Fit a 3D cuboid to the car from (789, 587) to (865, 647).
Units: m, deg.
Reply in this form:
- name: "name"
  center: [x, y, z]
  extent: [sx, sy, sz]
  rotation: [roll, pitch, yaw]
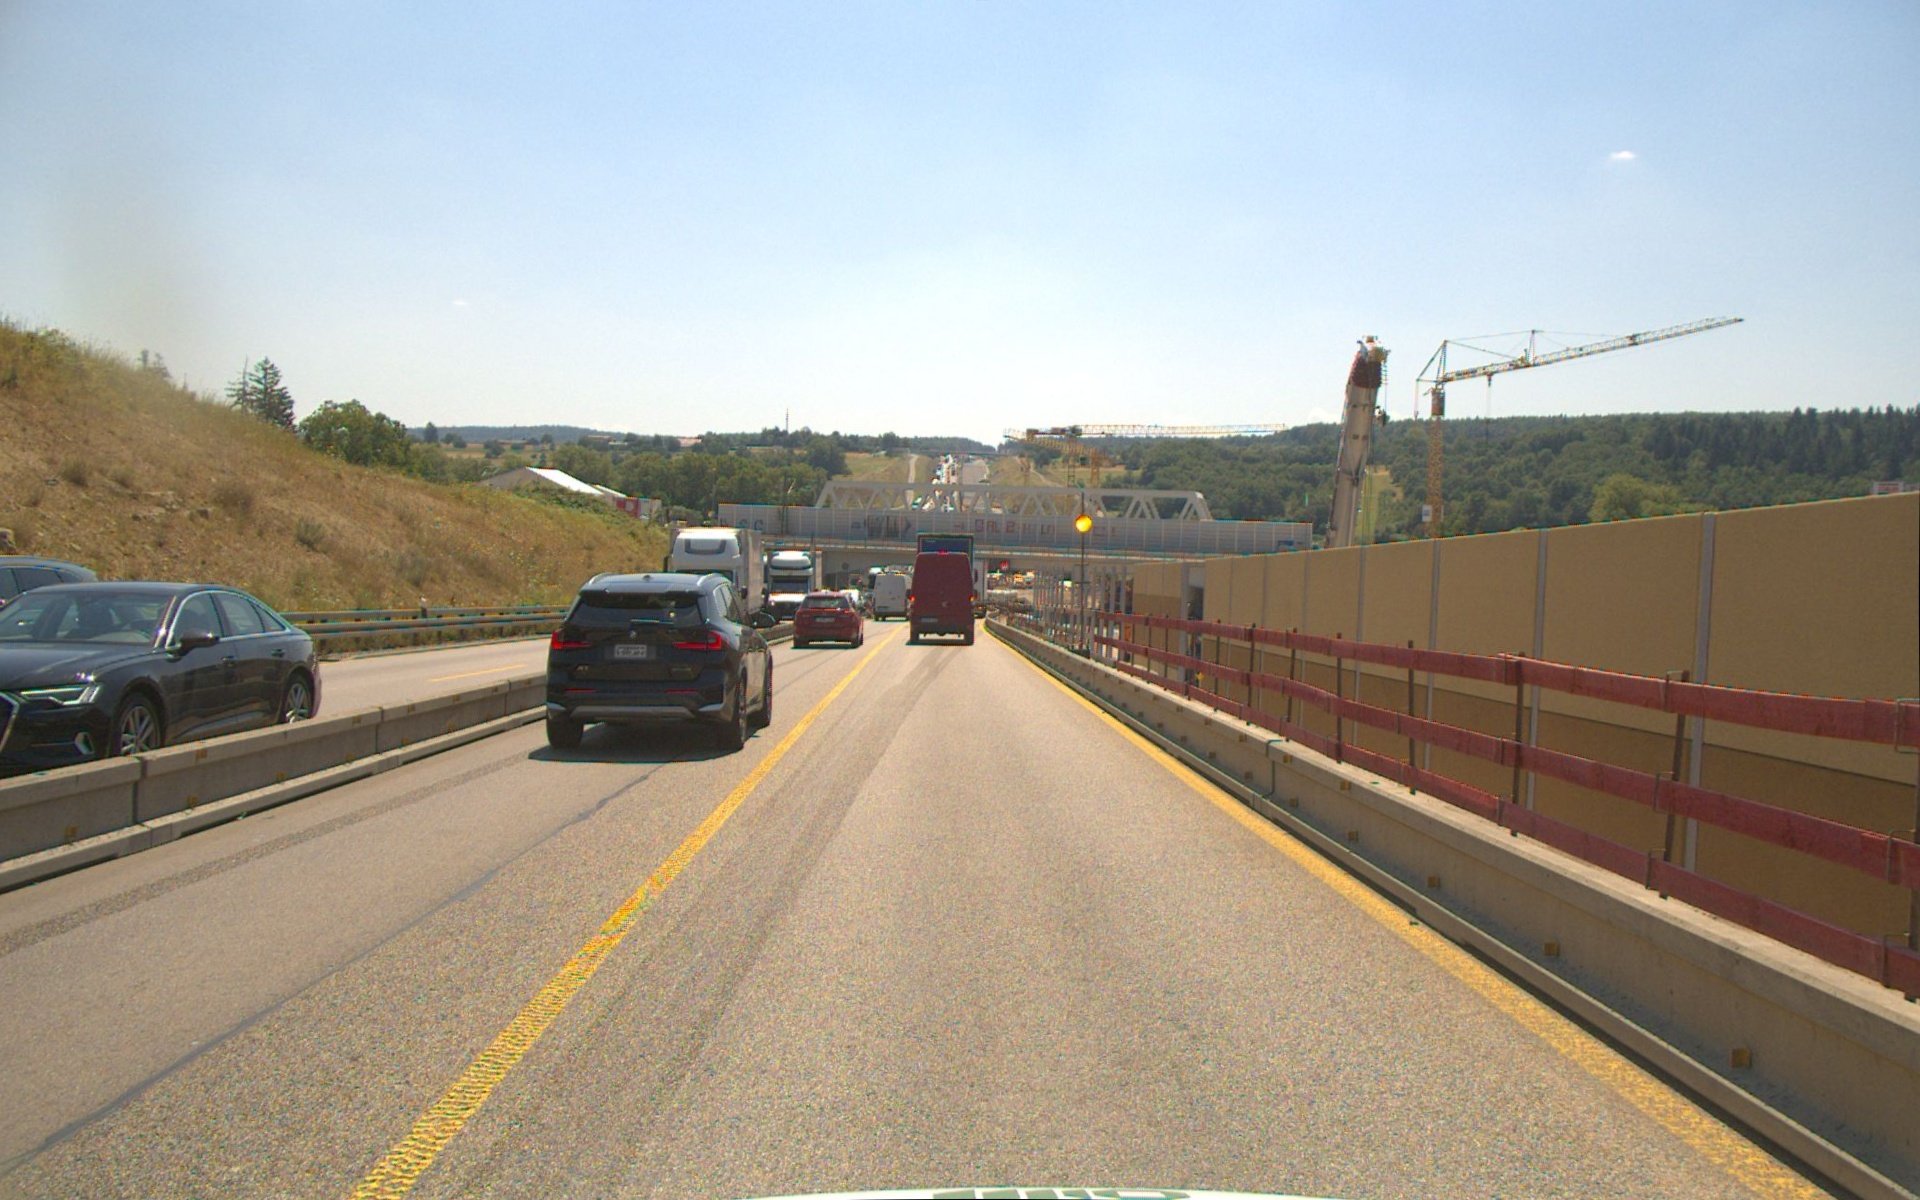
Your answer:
- name: "car"
  center: [-3.569, 0.422, 44.908]
  extent: [1.739, 1.544, 4.205]
  rotation: [0, 0, -1]

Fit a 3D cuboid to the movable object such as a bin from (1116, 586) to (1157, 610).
- name: "movable object such as a bin"
  center: [22.480, -0.265, 211.019]
  extent: [5.038, 2.856, 2.144]
  rotation: [1, 0, 5]

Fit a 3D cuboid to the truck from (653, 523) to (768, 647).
- name: "truck"
  center: [-7.405, -0.446, 49.861]
  extent: [2.487, 3.433, 7.036]
  rotation: [1, 0, -1]

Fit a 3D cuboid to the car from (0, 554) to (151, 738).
- name: "car"
  center: [-9.751, 0.410, 15.799]
  extent: [1.816, 1.701, 4.667]
  rotation: [0, 0, -1]

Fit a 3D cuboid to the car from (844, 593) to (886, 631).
- name: "car"
  center: [-4.358, 0.535, 76.235]
  extent: [1.802, 1.683, 4.164]
  rotation: [0, 1, -2]

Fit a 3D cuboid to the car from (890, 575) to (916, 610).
- name: "car"
  center: [-3.841, -0.511, 112.020]
  extent: [1.740, 2.370, 4.205]
  rotation: [0, 0, -1]

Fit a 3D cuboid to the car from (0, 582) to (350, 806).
- name: "car"
  center: [-6.638, 0.595, 13.241]
  extent: [1.760, 1.452, 4.948]
  rotation: [1, 0, -1]

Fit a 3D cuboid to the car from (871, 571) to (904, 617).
- name: "car"
  center: [-4.035, -0.357, 92.223]
  extent: [1.740, 2.484, 4.205]
  rotation: [0, 0, -1]

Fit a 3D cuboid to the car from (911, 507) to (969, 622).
- name: "car"
  center: [-0.981, -1.633, 79.228]
  extent: [2.568, 5.120, 10.394]
  rotation: [0, 0, -1]

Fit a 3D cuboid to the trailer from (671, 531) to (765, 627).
- name: "trailer"
  center: [-11.207, -0.955, 77.971]
  extent: [2.643, 4.095, 13.699]
  rotation: [1, 0, -1]

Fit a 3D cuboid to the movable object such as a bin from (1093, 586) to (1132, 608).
- name: "movable object such as a bin"
  center: [20.171, -0.367, 218.413]
  extent: [5.038, 2.856, 2.144]
  rotation: [1, 0, 5]

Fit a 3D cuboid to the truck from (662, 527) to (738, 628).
- name: "truck"
  center: [-11.033, -0.936, 70.537]
  extent: [2.643, 4.120, 3.954]
  rotation: [1, 0, -1]

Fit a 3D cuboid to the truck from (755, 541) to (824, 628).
- name: "truck"
  center: [-7.901, -0.708, 77.397]
  extent: [2.537, 3.824, 7.357]
  rotation: [1, 0, -1]

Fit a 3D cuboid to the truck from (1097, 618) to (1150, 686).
- name: "truck"
  center: [10.090, 3.137, 102.512]
  extent: [2.702, 3.954, 5.882]
  rotation: [1, 0, 1]

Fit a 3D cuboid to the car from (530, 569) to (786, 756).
- name: "car"
  center: [-2.891, 0.532, 16.795]
  extent: [1.841, 1.646, 4.498]
  rotation: [0, 0, -1]

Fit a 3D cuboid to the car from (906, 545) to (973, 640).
- name: "car"
  center: [-0.638, -0.233, 50.252]
  extent: [1.948, 2.737, 4.623]
  rotation: [0, 0, -1]

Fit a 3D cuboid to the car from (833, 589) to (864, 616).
- name: "car"
  center: [-8.037, 0.169, 119.256]
  extent: [1.994, 1.855, 4.958]
  rotation: [1, 0, -1]
